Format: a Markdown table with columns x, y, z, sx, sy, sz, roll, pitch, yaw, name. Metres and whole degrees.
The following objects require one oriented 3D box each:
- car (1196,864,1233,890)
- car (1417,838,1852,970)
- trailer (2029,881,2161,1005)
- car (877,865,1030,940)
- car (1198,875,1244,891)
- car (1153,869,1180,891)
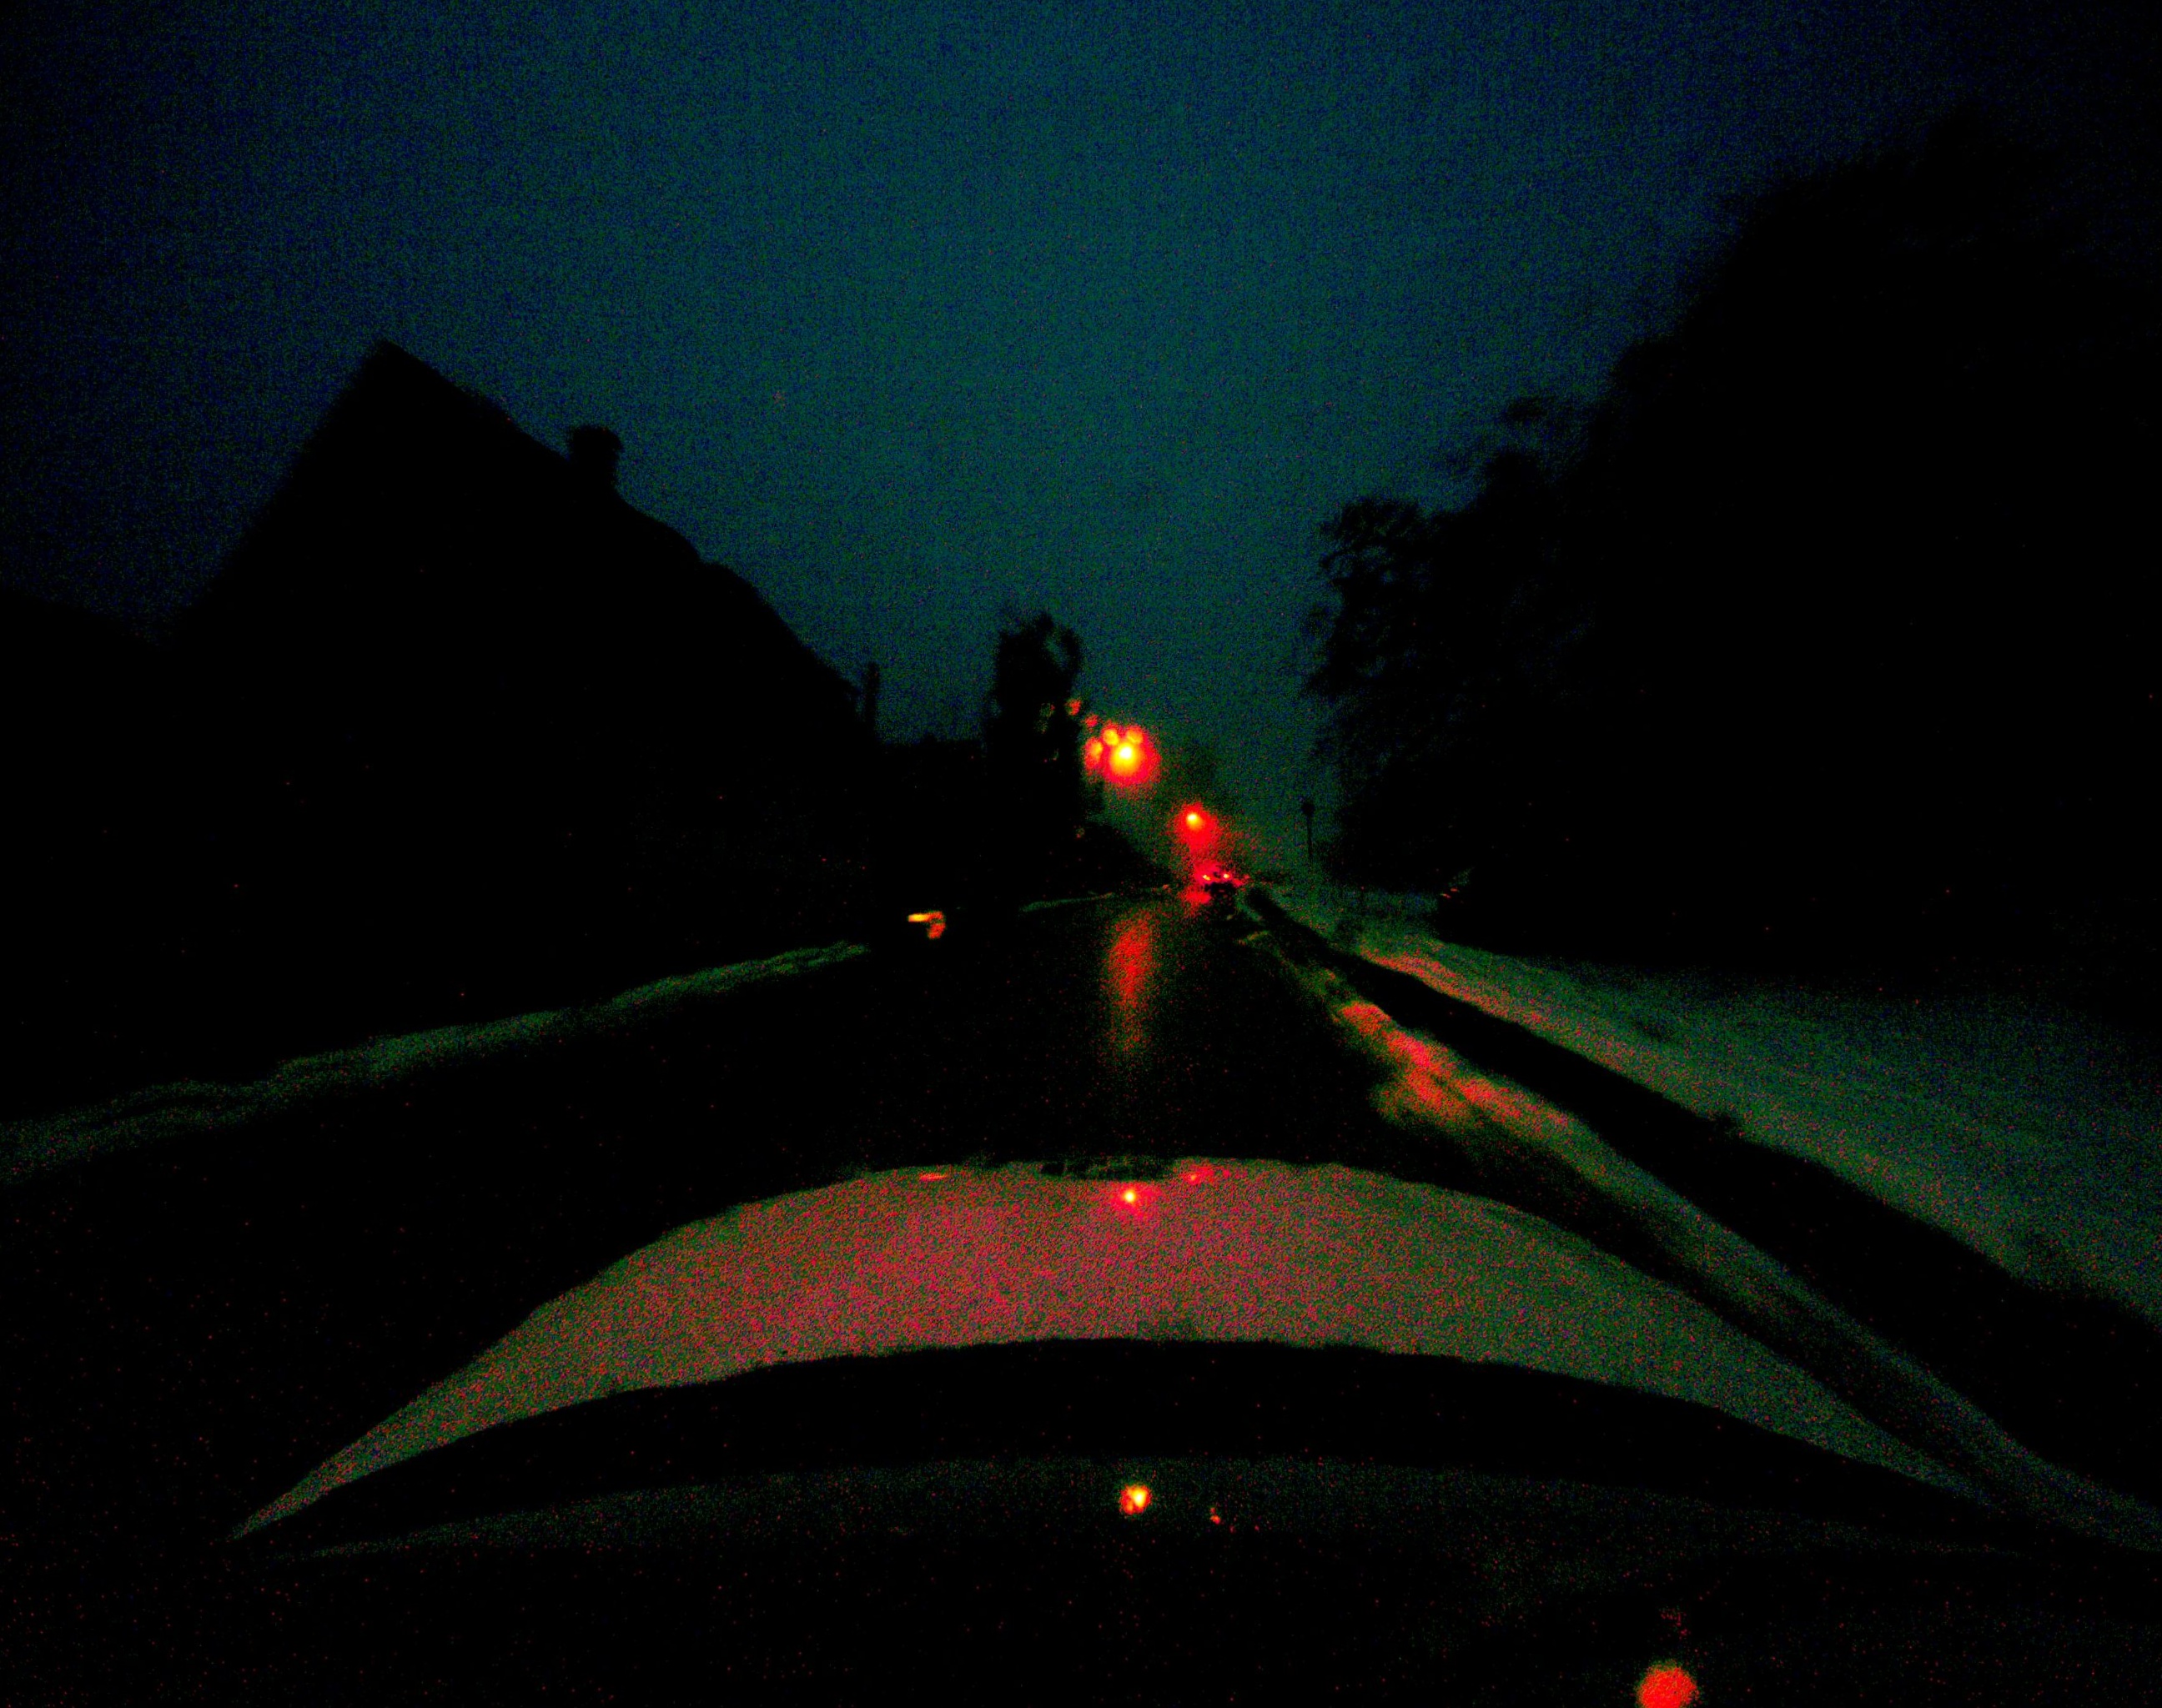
| x | y | z | sx | sy | sz | roll | pitch | yaw | name |
| --- | --- | --- | --- | --- | --- | --- | --- | --- | --- |
| 8.077 | 1.382 | 49.033 | 1.980 | 1.420 | 4.013 | -2 | -2 | 12 | car |
| 7.158 | 0.597 | 11.057 | 4.423 | 1.382 | 2.041 | 3 | 0 | 9 | car |
| 11.658 | 0.811 | 7.218 | 3.855 | 1.091 | 2.246 | 0 | -1 | 2 | trailer |
| -2.686 | 0.997 | 18.667 | 1.866 | 1.426 | 5.405 | -1 | -1 | 9 | car |
| 16.230 | 3.327 | 94.283 | 4.846 | 1.485 | 2.134 | -5 | -4 | 20 | car |
| 7.392 | 2.284 | 70.873 | 1.986 | 1.566 | 4.999 | -5 | -4 | 2 | car |
